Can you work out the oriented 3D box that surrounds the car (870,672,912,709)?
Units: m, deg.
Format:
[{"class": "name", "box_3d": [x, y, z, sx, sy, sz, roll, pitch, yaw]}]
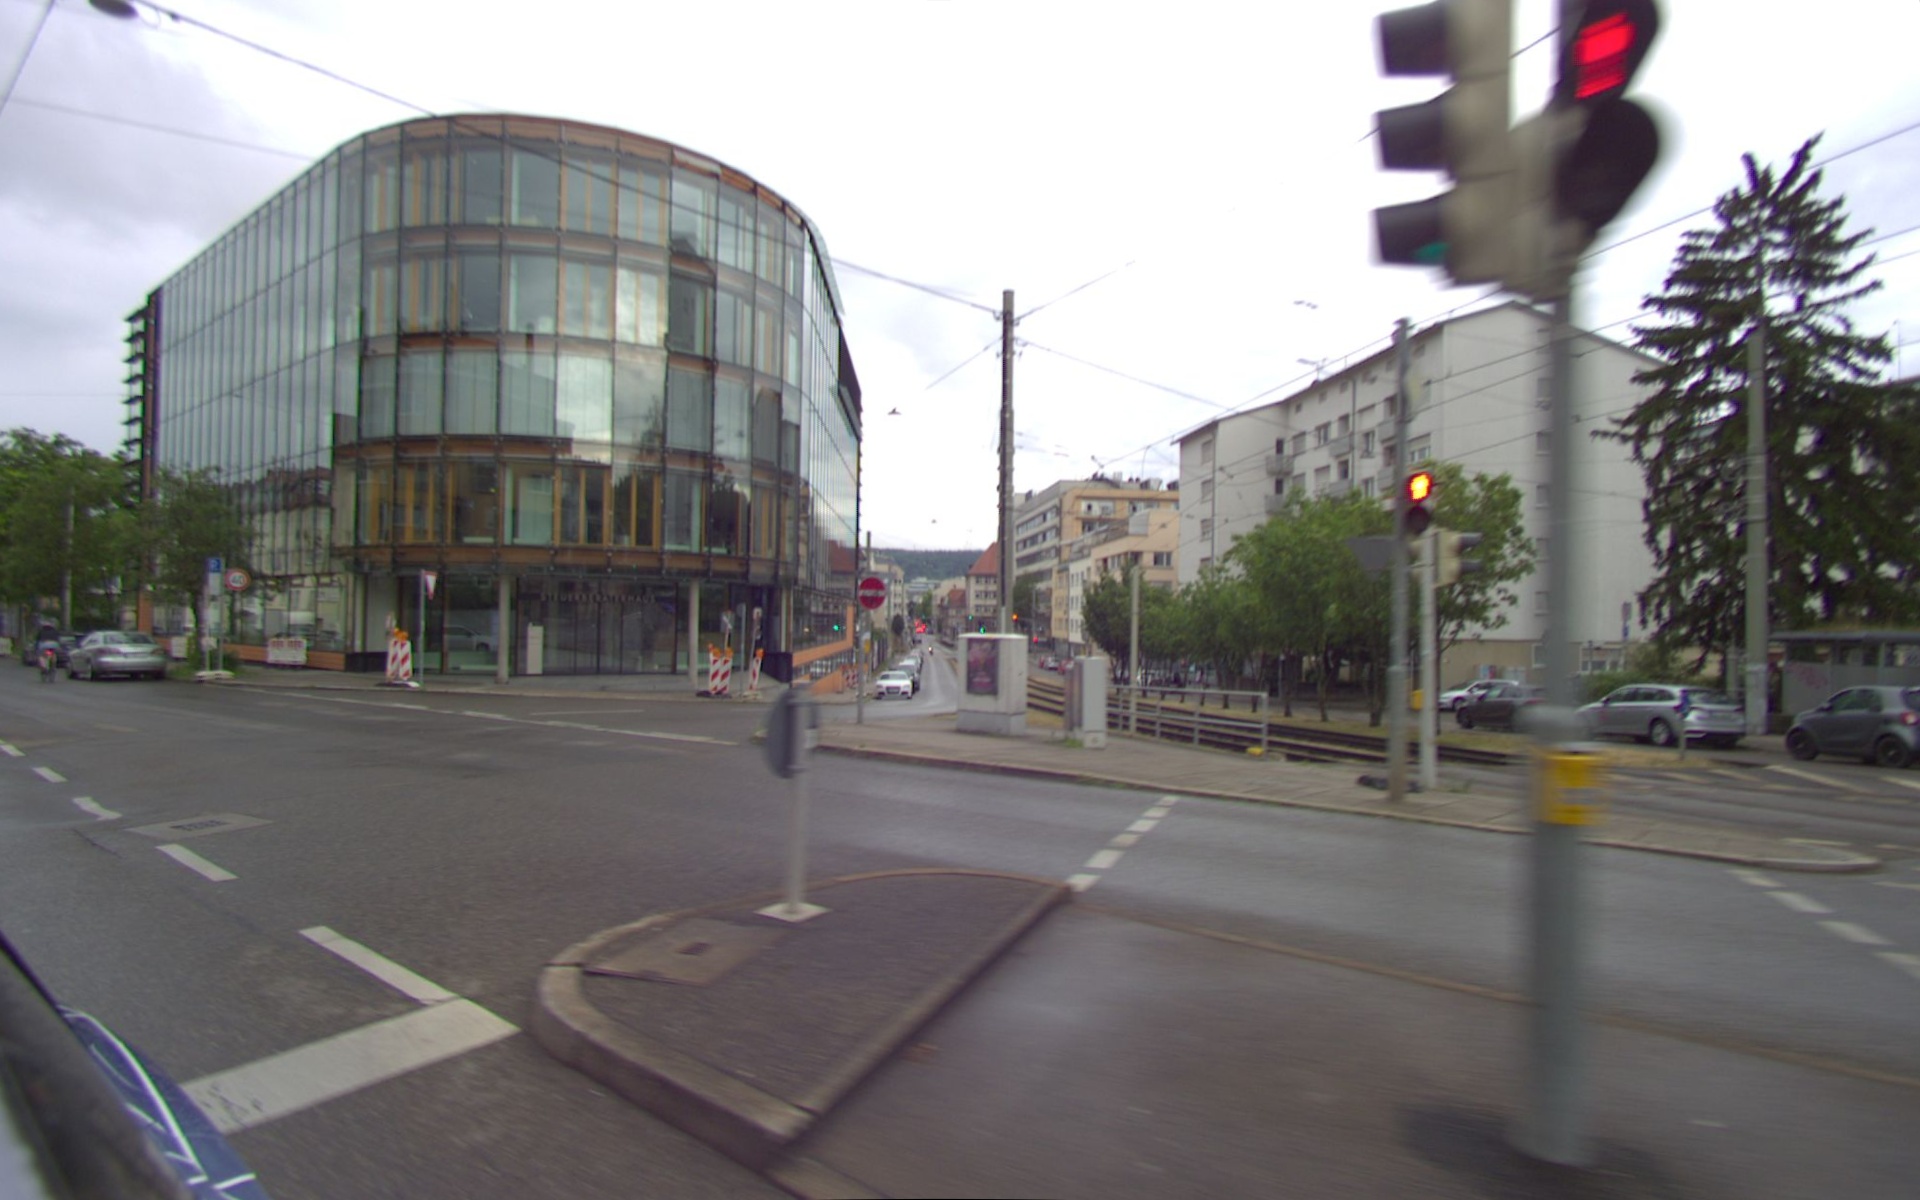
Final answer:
[{"class": "car", "box_3d": [-3.372, 4.423, 49.888, 1.890, 1.507, 4.001, 0, 0, -2]}]

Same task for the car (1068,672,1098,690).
[{"class": "car", "box_3d": [11.768, 7.778, 96.905, 1.970, 1.520, 4.315, 0, -6, -4]}]

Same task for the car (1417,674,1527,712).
[{"class": "car", "box_3d": [23.805, 4.298, 47.155, 4.128, 1.574, 2.003, 0, 0, -6]}]

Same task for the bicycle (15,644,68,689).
[{"class": "bicycle", "box_3d": [-25.850, 1.846, 28.471, 2.126, 1.157, 0.816, 0, -2, 40]}]

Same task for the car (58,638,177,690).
[{"class": "car", "box_3d": [-25.181, 1.855, 30.183, 4.640, 1.405, 1.839, -2, -3, 39]}]

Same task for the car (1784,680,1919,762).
[{"class": "car", "box_3d": [17.599, 2.218, 18.951, 1.783, 1.403, 2.895, 0, -4, -5]}]

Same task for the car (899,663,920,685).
[{"class": "car", "box_3d": [-4.777, 6.995, 96.073, 1.890, 1.763, 4.001, 0, 0, -2]}]

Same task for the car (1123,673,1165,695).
[{"class": "car", "box_3d": [13.425, 6.192, 74.212, 1.970, 1.520, 4.315, 0, -6, -4]}]

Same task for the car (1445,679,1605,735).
[{"class": "car", "box_3d": [16.565, 3.152, 29.964, 1.970, 1.520, 4.315, 0, -6, -4]}]

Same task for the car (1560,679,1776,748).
[{"class": "car", "box_3d": [17.180, 2.713, 24.883, 1.970, 1.520, 4.315, 0, -4, -4]}]

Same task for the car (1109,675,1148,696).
[{"class": "car", "box_3d": [13.124, 6.712, 78.959, 1.970, 1.520, 4.315, 0, -6, -4]}]

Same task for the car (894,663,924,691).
[{"class": "car", "box_3d": [-3.332, 5.087, 66.245, 1.890, 1.763, 4.001, 0, -5, -2]}]

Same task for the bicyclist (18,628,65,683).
[{"class": "bicyclist", "box_3d": [-25.831, 1.548, 28.463, 1.139, 1.473, 0.816, 0, -1, 40]}]

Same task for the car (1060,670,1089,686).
[{"class": "car", "box_3d": [11.552, 7.928, 102.388, 1.970, 1.520, 4.705, 0, -5, -4]}]

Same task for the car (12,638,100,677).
[{"class": "car", "box_3d": [-36.404, 2.303, 40.728, 4.321, 1.475, 1.707, -1, -4, 36]}]

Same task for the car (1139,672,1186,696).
[{"class": "car", "box_3d": [13.665, 5.754, 68.653, 1.970, 1.520, 4.315, 0, -6, -4]}]

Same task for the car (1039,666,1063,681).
[{"class": "car", "box_3d": [10.467, 8.466, 116.509, 1.970, 1.520, 4.315, 0, -6, -4]}]

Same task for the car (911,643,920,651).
[{"class": "car", "box_3d": [-9.680, 10.305, 222.386, 1.890, 1.763, 4.001, 0, 0, -2]}]
